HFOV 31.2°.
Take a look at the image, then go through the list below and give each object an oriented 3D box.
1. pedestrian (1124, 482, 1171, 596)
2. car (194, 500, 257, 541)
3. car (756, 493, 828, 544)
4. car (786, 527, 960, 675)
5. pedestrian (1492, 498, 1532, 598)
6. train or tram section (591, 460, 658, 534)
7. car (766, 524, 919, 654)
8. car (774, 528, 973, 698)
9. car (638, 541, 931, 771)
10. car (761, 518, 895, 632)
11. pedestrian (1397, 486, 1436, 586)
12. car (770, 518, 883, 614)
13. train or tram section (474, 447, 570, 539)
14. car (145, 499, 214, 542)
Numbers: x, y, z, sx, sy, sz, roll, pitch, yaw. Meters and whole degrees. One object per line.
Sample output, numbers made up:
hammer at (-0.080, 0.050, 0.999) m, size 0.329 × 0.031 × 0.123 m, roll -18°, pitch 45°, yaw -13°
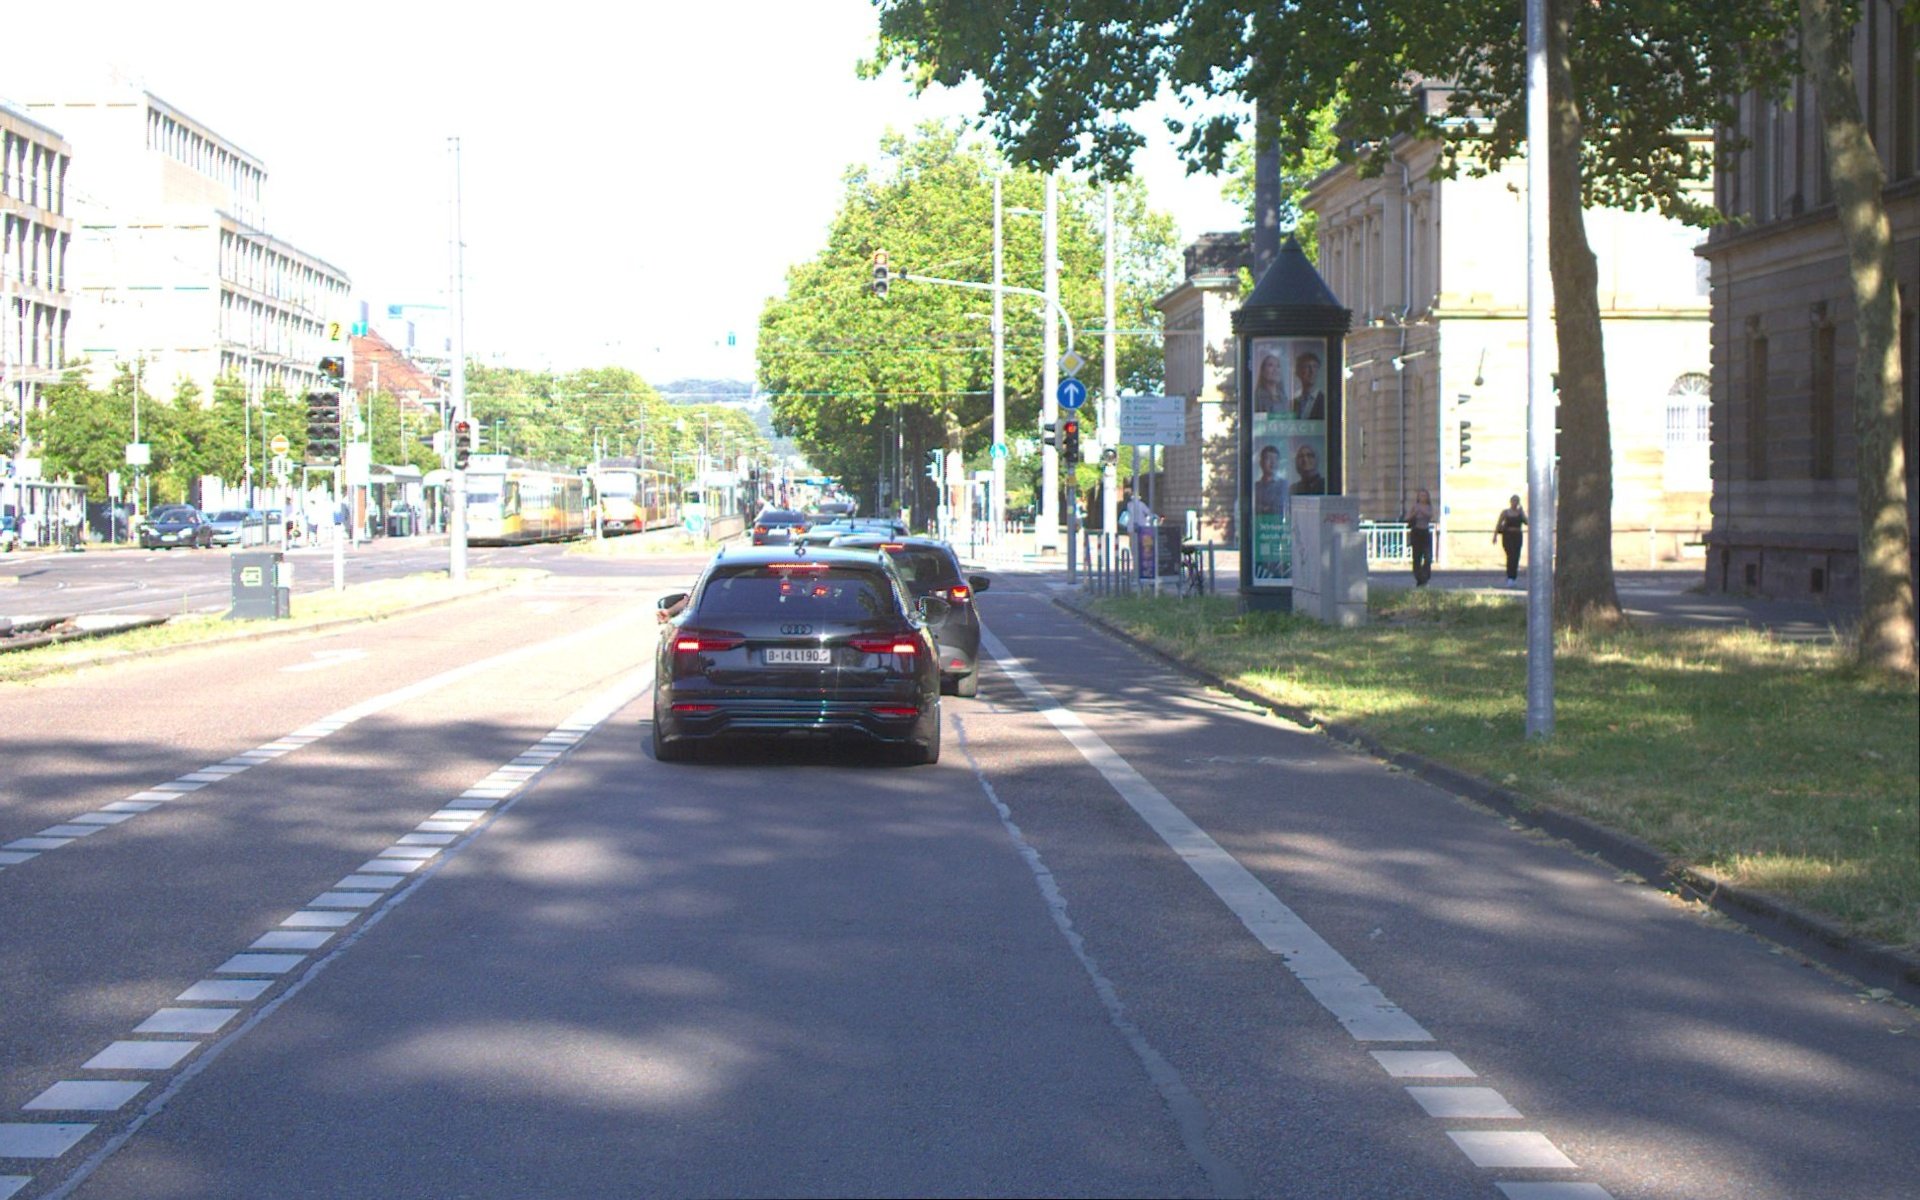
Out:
pedestrian at (2.877, -0.935, 52.718) m, size 0.588 × 1.722 × 0.650 m, roll 2°, pitch 2°, yaw 11°
car at (-27.826, -3.018, 130.307) m, size 1.794 × 1.505 × 4.001 m, roll 0°, pitch 2°, yaw -4°
car at (-5.242, -2.547, 107.680) m, size 1.794 × 1.505 × 4.000 m, roll 2°, pitch 1°, yaw 4°
car at (-0.949, -0.036, 37.730) m, size 1.794 × 1.505 × 4.001 m, roll 0°, pitch 2°, yaw -1°
pedestrian at (9.596, -0.911, 59.800) m, size 0.588 × 1.722 × 0.650 m, roll 2°, pitch 2°, yaw 13°
train or tram section at (-16.091, -4.959, 165.214) m, size 2.825 × 3.439 × 9.066 m, roll 0°, pitch 2°, yaw -3°
car at (-1.423, -0.175, 42.426) m, size 1.794 × 1.505 × 4.001 m, roll 0°, pitch 2°, yaw -1°
car at (-0.829, 0.076, 33.110) m, size 1.794 × 1.505 × 4.001 m, roll 0°, pitch 2°, yaw -1°
car at (-1.196, 0.320, 23.729) m, size 1.833 × 1.386 × 4.160 m, roll 0°, pitch 2°, yaw -2°
car at (-1.820, -0.383, 48.195) m, size 1.794 × 1.505 × 4.001 m, roll 0°, pitch 2°, yaw -1°
pedestrian at (7.981, -1.117, 60.076) m, size 0.588 × 1.722 × 0.650 m, roll 2°, pitch 2°, yaw 11°
car at (-2.167, -0.591, 56.627) m, size 1.794 × 1.505 × 4.001 m, roll 0°, pitch 2°, yaw -1°
train or tram section at (-17.025, -4.171, 134.054) m, size 2.825 × 3.439 × 9.065 m, roll 0°, pitch 2°, yaw -2°
car at (-27.947, -2.867, 123.171) m, size 1.794 × 1.505 × 4.001 m, roll 0°, pitch 2°, yaw -4°
